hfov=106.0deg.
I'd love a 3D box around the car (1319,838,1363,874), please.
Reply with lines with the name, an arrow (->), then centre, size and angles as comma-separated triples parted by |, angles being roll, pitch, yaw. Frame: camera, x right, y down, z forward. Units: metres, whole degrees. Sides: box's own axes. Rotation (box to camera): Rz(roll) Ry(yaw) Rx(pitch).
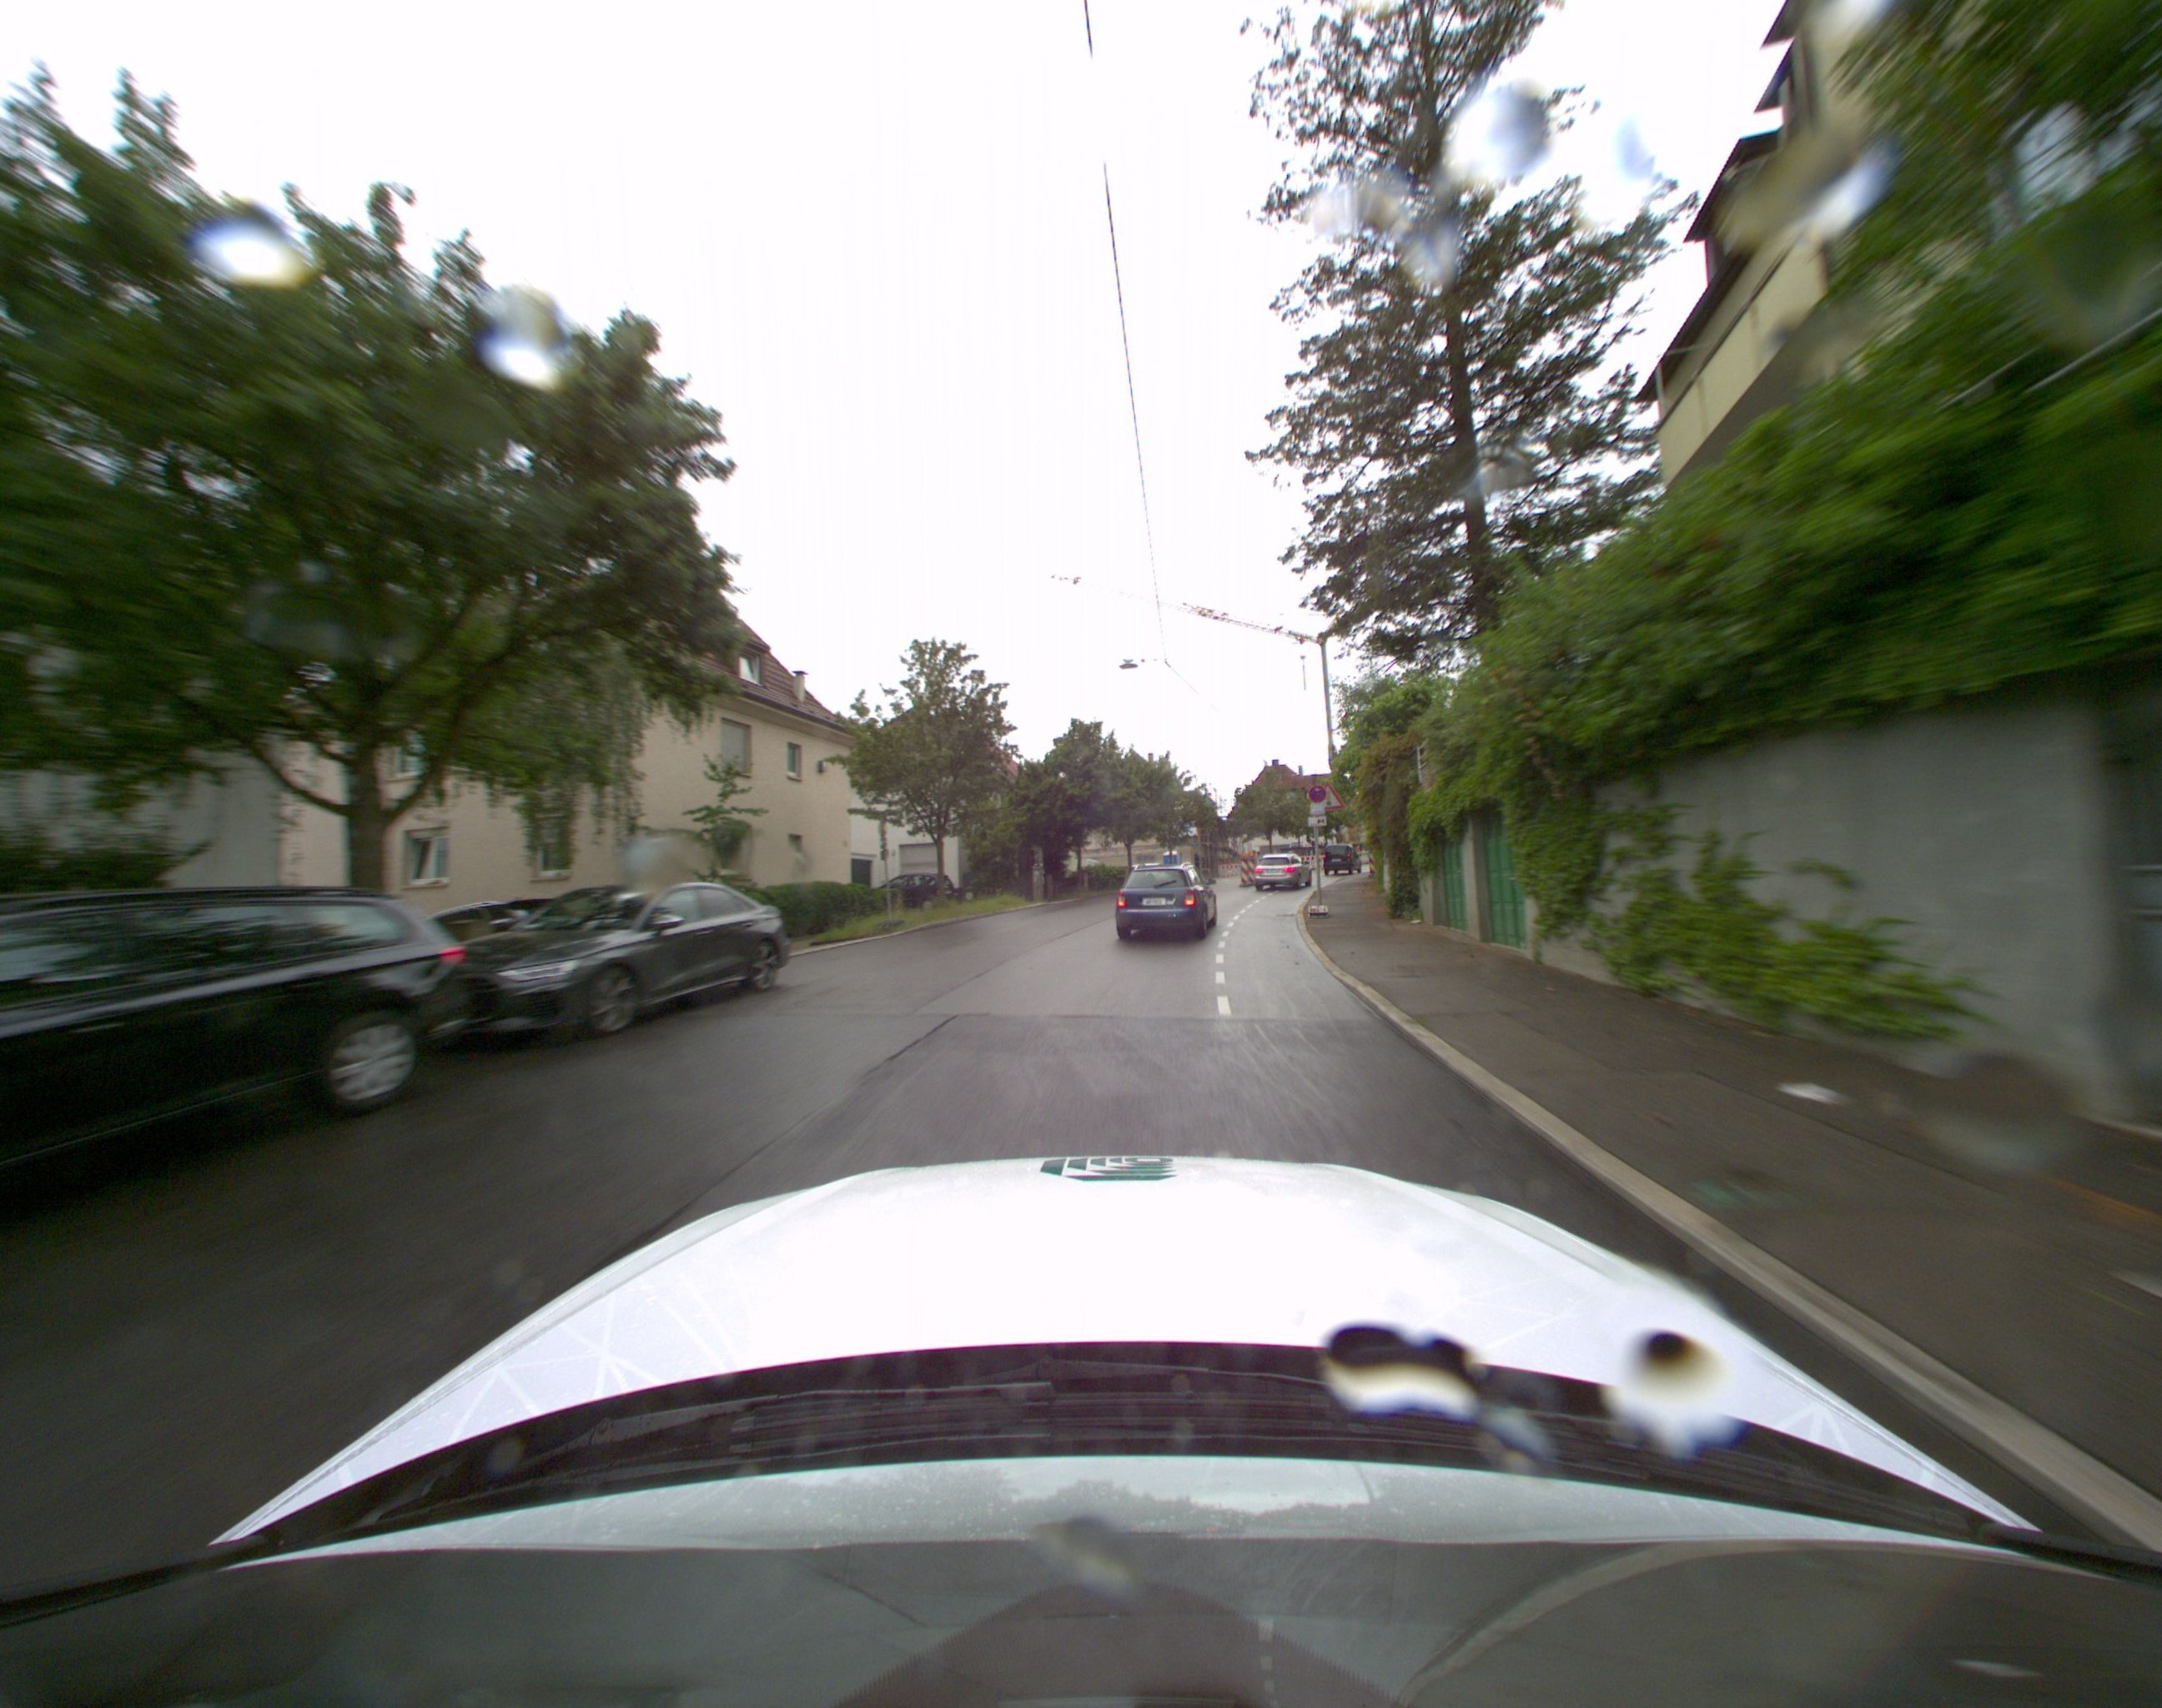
car -> 15.647, 0.105, 48.890 | 1.714, 1.894, 4.080 | -7, -2, 27

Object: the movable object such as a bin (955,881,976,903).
movable object such as a bin -> -4.938, 1.631, 34.942 | 0.664, 0.921, 0.595 | -2, 0, 18

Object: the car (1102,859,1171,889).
car -> 3.791, 1.367, 55.482 | 4.162, 1.604, 1.960 | -7, -3, 19

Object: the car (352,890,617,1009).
car -> -11.503, 1.823, 15.756 | 4.205, 1.504, 1.923 | -11, -3, 18

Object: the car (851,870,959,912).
car -> -7.178, 1.474, 33.315 | 3.908, 1.543, 1.872 | 0, 0, 18

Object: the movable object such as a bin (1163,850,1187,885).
movable object such as a bin -> 6.992, 1.025, 60.671 | 1.301, 2.505, 1.393 | -4, -1, 21

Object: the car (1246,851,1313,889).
car -> 8.335, 0.620, 33.957 | 1.891, 1.388, 4.375 | -3, -1, 24

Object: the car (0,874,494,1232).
car -> -5.458, 0.892, 3.948 | 1.725, 1.484, 4.534 | -1, -1, 4

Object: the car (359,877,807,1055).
car -> -4.954, 1.001, 9.058 | 1.697, 1.382, 4.541 | -1, -1, 9

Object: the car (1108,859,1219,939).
car -> 1.839, 0.843, 16.965 | 1.765, 1.439, 4.015 | -1, 0, 13
